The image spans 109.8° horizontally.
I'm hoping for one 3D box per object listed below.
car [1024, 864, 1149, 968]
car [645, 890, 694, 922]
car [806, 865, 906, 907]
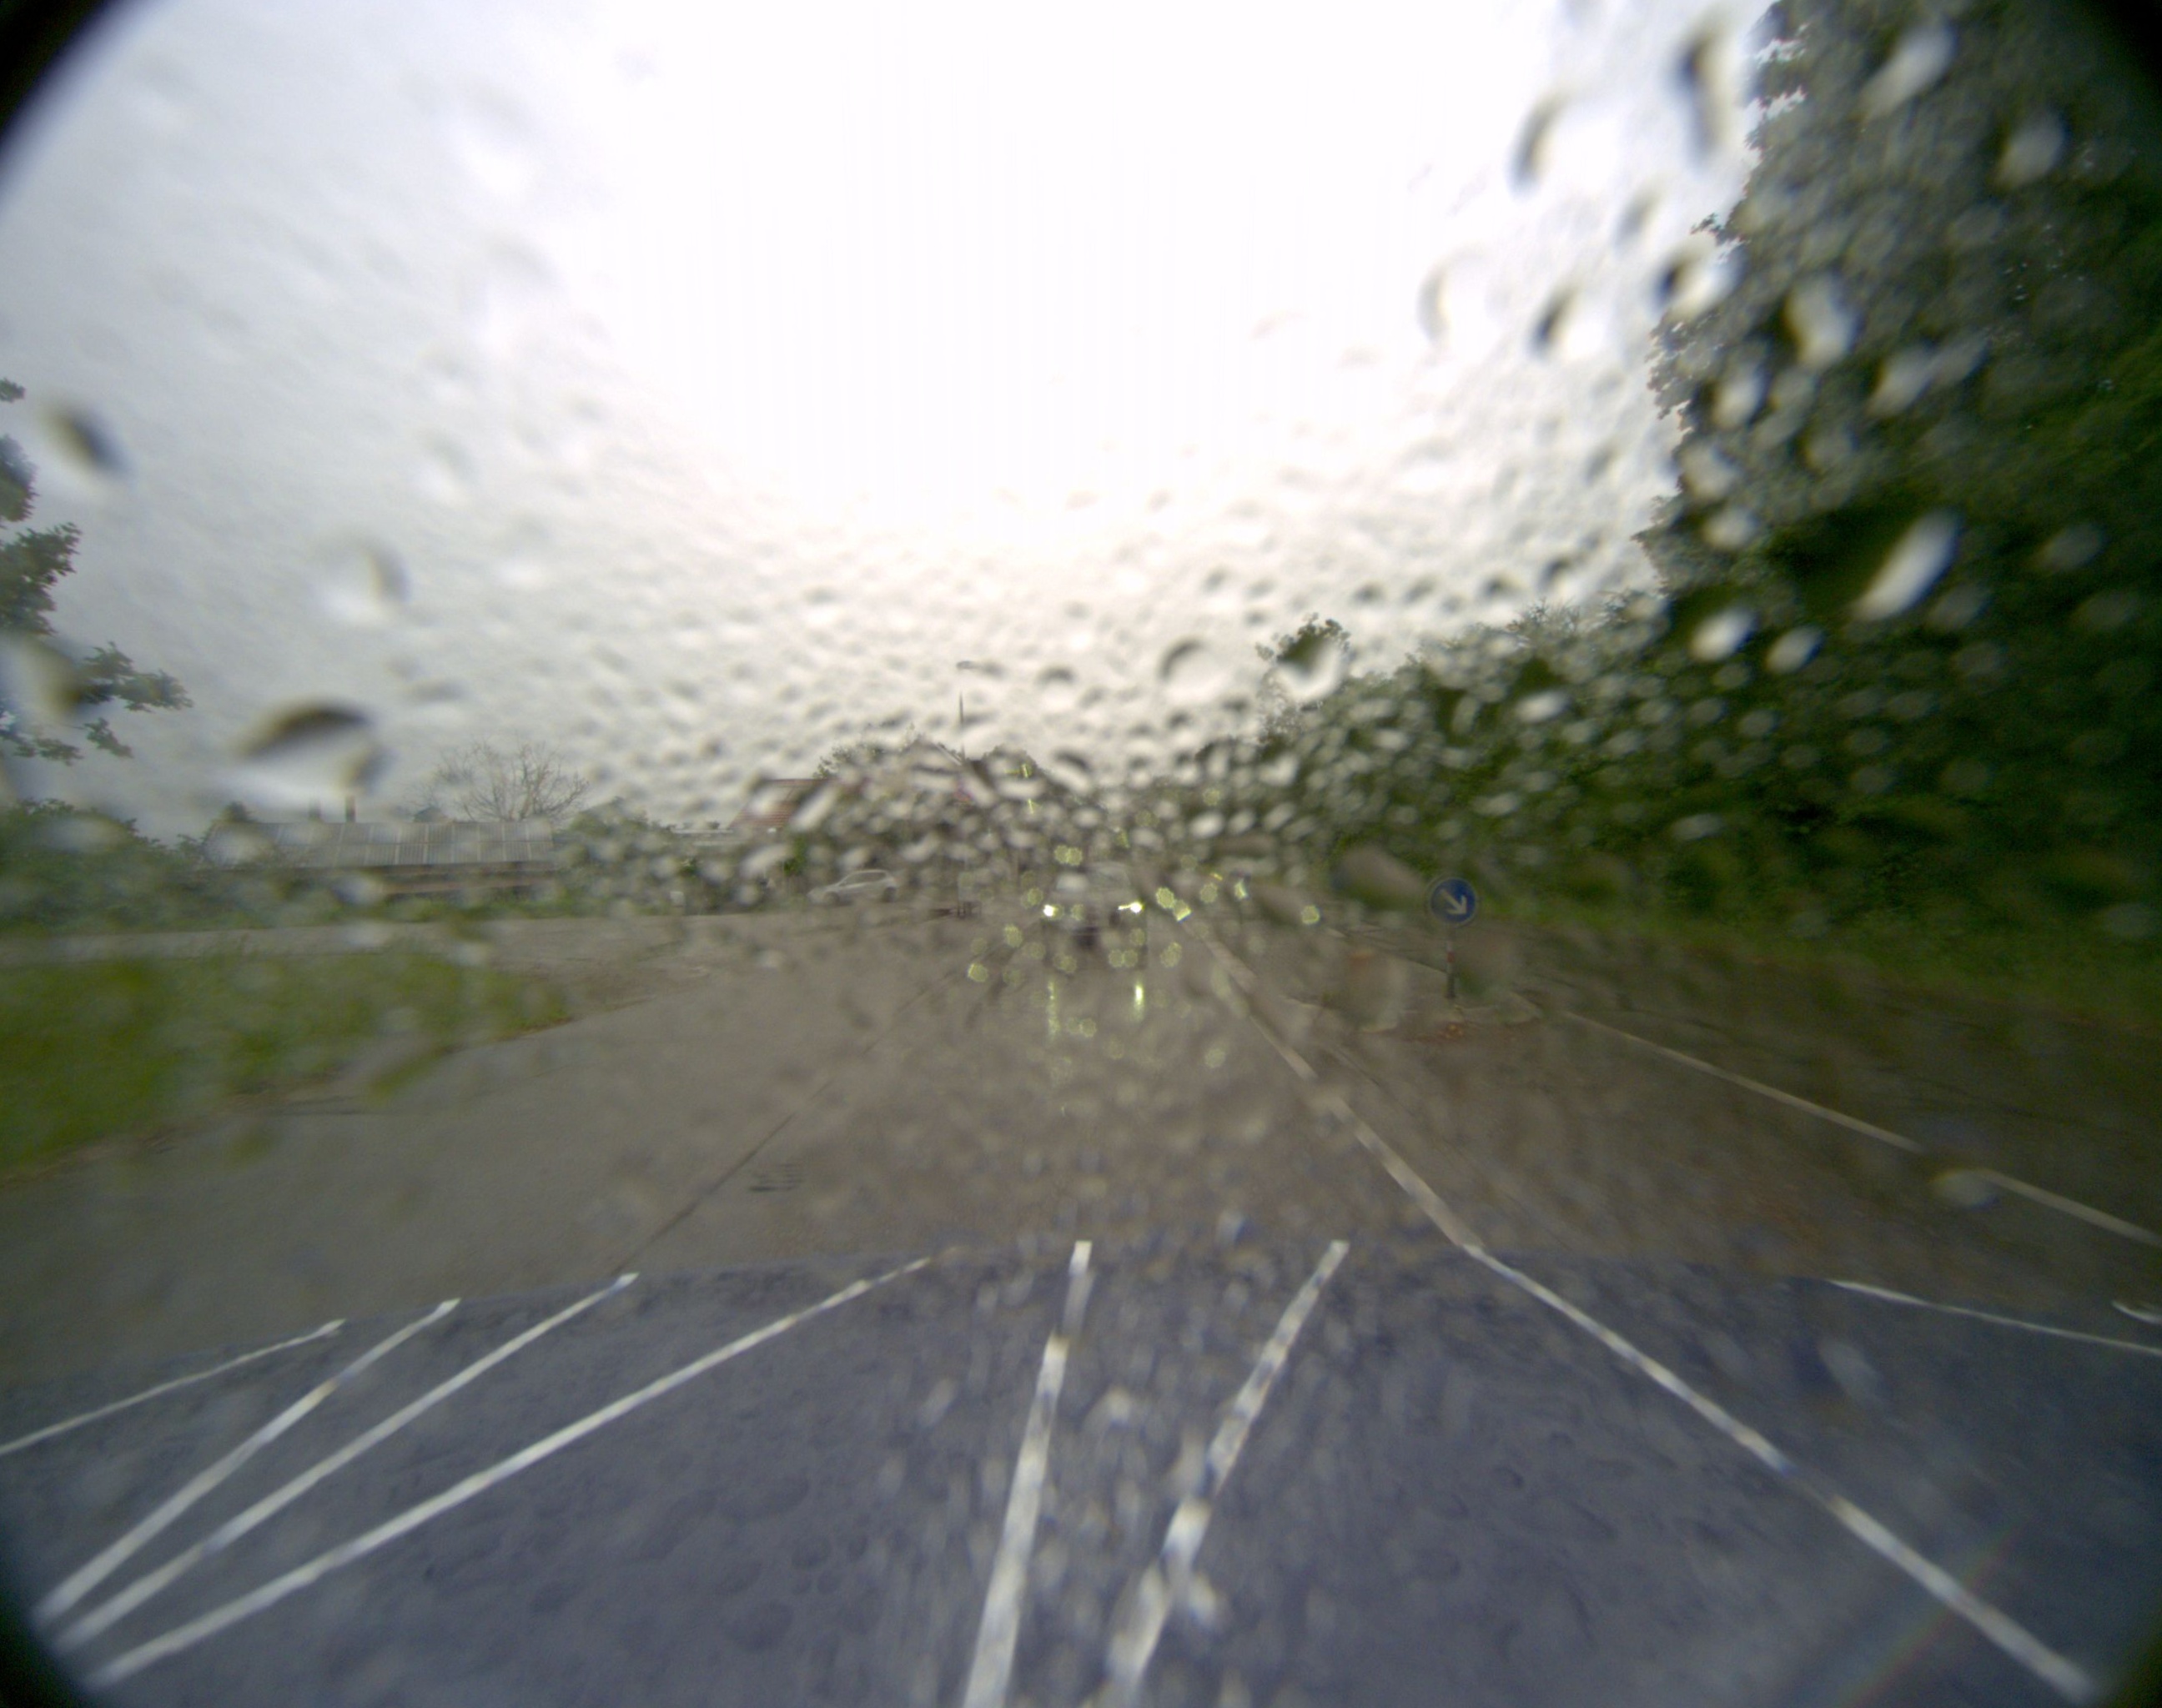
[{"bbox_3d":[0.208,0.946,13.373,1.766,1.316,4.549,-3,1,3],"label":"car"},{"bbox_3d":[-25.090,3.100,46.288,1.937,1.674,3.990,-4,1,-37],"label":"car"},{"bbox_3d":[-9.958,1.394,33.663,3.862,1.523,1.715,-4,1,-29],"label":"car"}]
